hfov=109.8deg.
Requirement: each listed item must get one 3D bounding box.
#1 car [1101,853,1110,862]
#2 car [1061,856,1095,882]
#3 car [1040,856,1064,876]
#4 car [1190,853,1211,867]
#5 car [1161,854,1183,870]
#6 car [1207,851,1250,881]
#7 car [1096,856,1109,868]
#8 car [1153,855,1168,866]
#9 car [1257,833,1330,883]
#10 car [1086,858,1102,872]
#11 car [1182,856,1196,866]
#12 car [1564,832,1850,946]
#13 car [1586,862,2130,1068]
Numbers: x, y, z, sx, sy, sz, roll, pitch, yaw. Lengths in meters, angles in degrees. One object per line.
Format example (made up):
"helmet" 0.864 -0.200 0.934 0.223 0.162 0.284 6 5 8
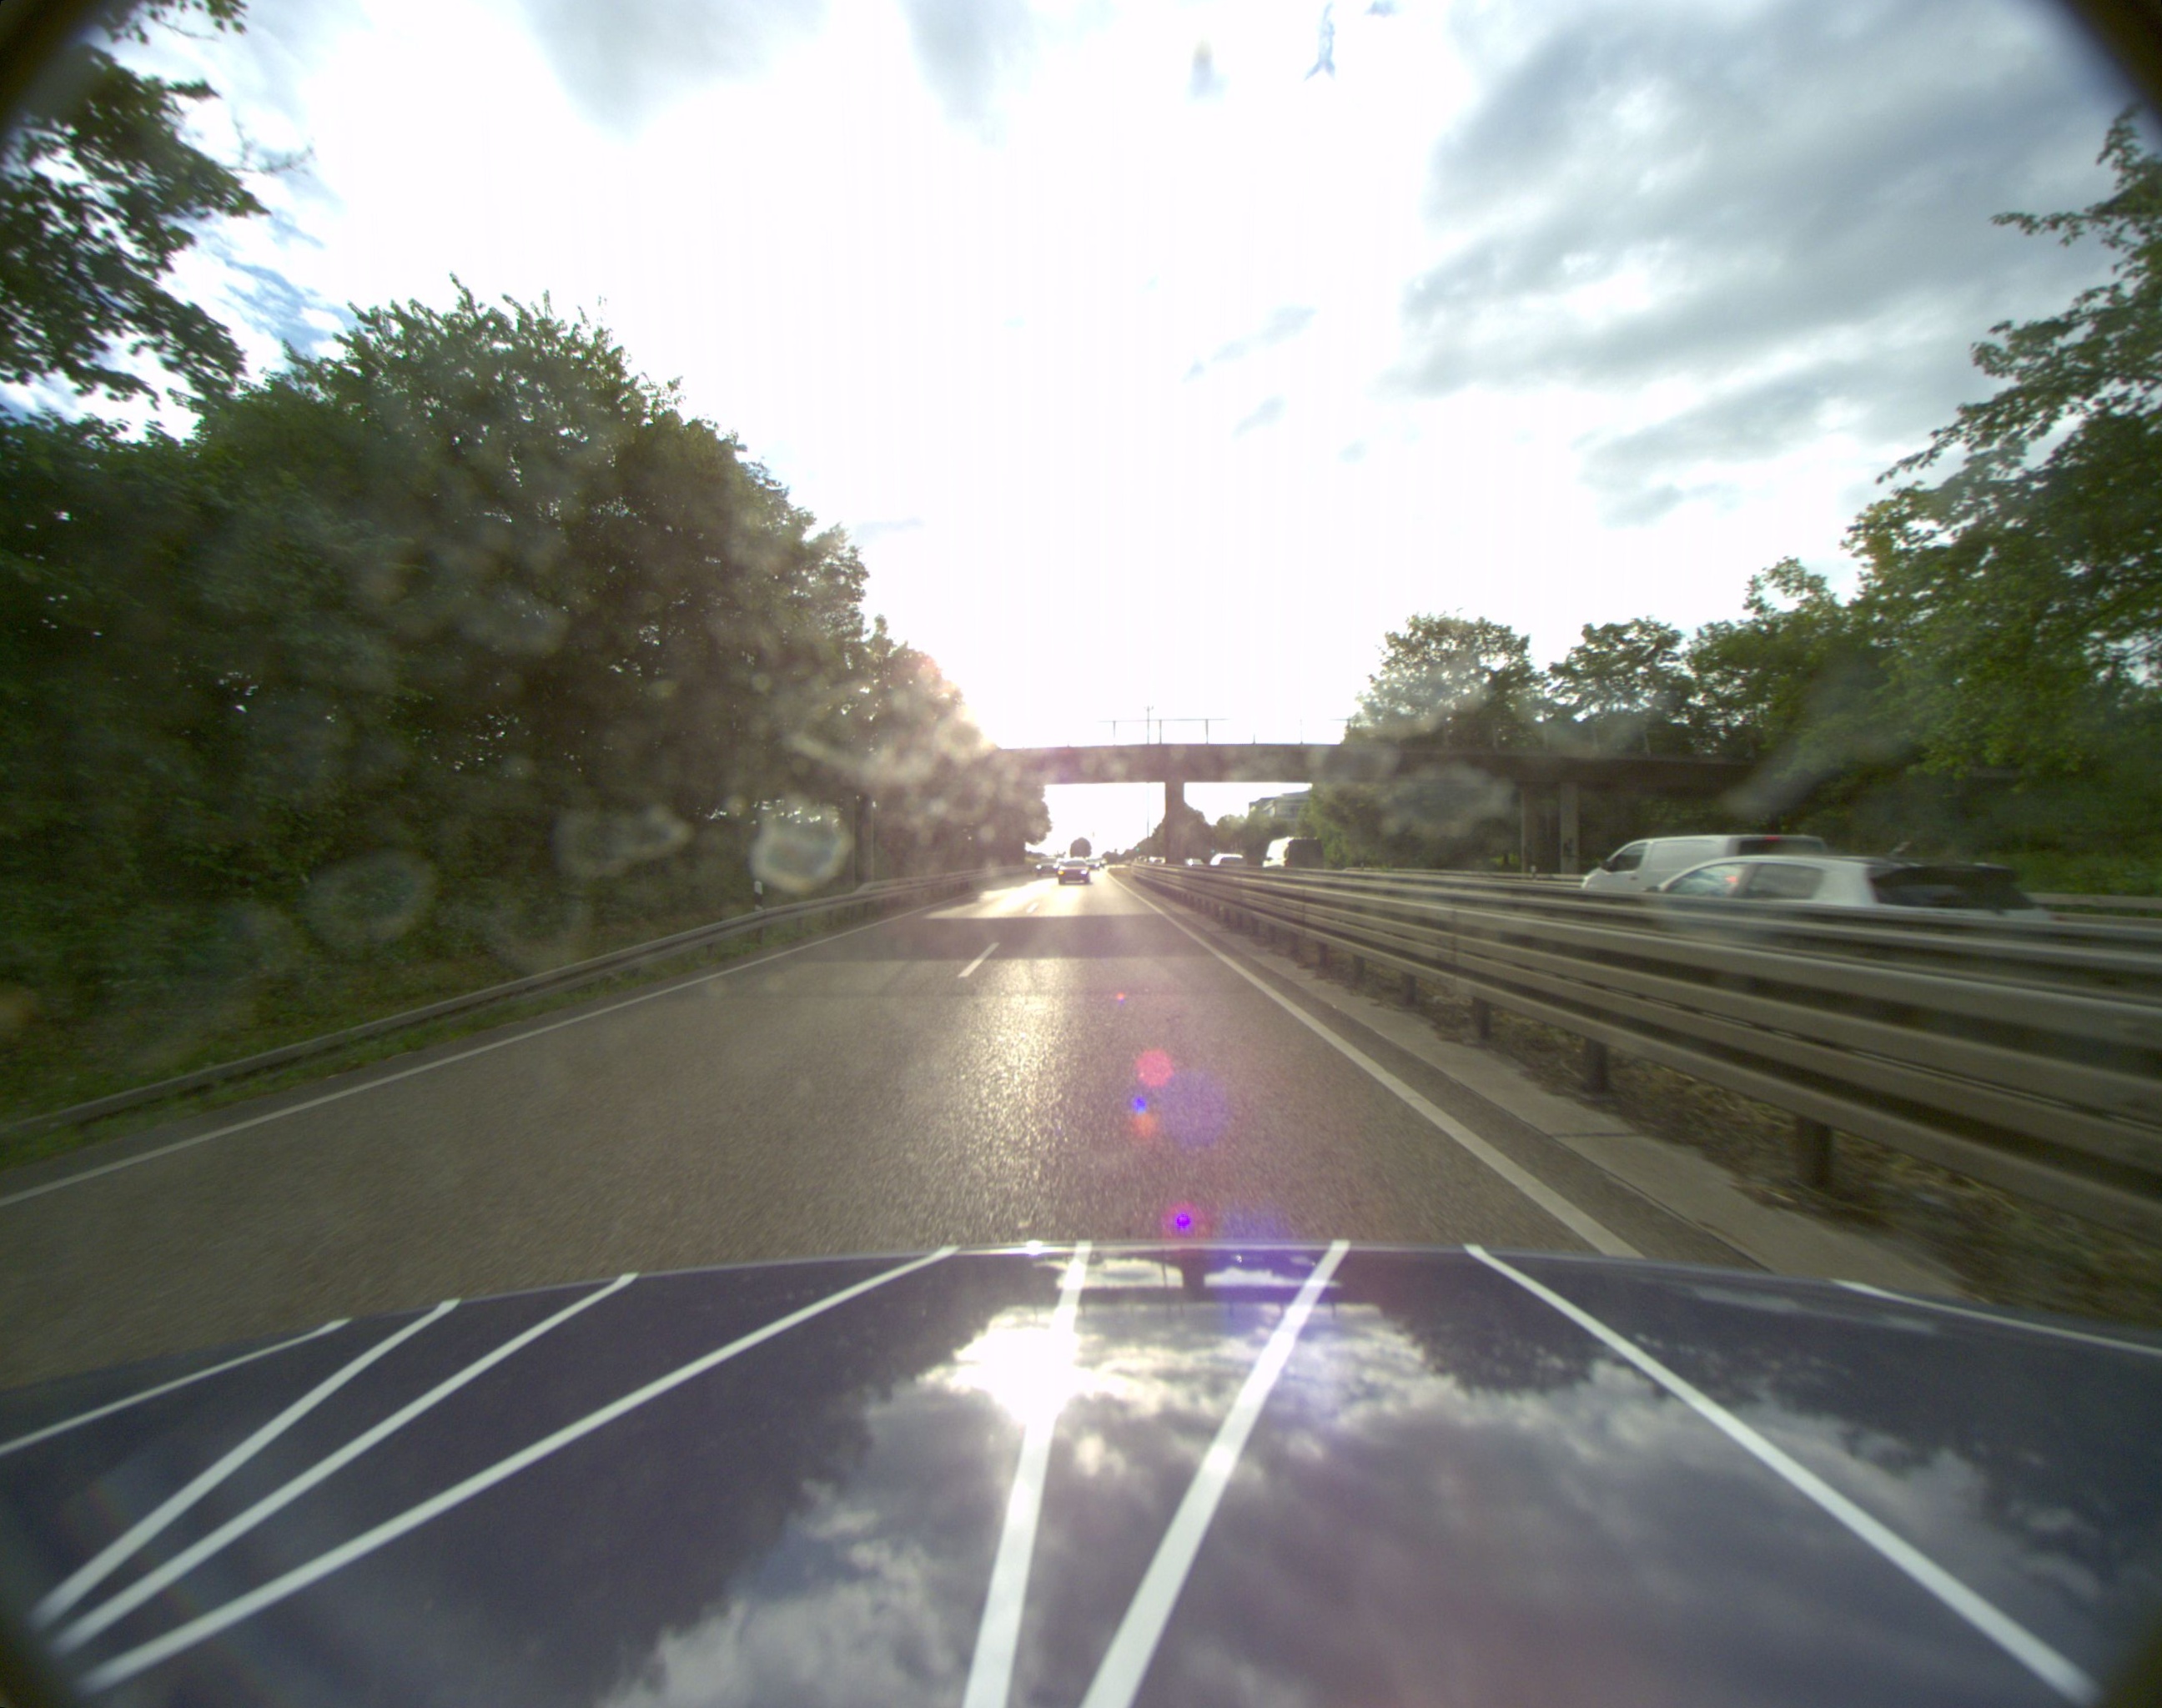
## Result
"car" 5.845 0.908 183.791 1.998 2.002 4.000 -2 0 1
"car" -0.160 0.854 44.977 1.723 1.467 3.729 -1 0 4
"car" -2.470 1.009 65.157 1.723 1.657 4.420 -2 -1 2
"car" 13.602 0.653 86.585 1.839 1.527 4.397 3 0 2
"car" 9.661 0.812 80.815 1.827 1.575 4.791 -1 0 1
"car" 7.921 0.641 40.977 1.610 1.519 3.640 -1 0 0
"car" 3.080 1.145 108.015 1.786 1.623 3.866 -2 -1 3
"car" 10.535 0.852 100.714 1.722 1.458 3.734 -1 0 1
"car" 11.760 0.213 42.596 2.255 2.522 6.941 -1 0 1
"car" 1.488 1.233 86.689 1.723 1.493 4.420 -2 -1 3
"car" 14.869 0.951 104.770 1.433 1.345 3.310 0 0 0
"car" 11.680 0.574 14.712 1.872 1.844 4.623 -1 0 2
"car" 7.015 0.856 7.502 1.686 1.477 3.646 -1 0 1
